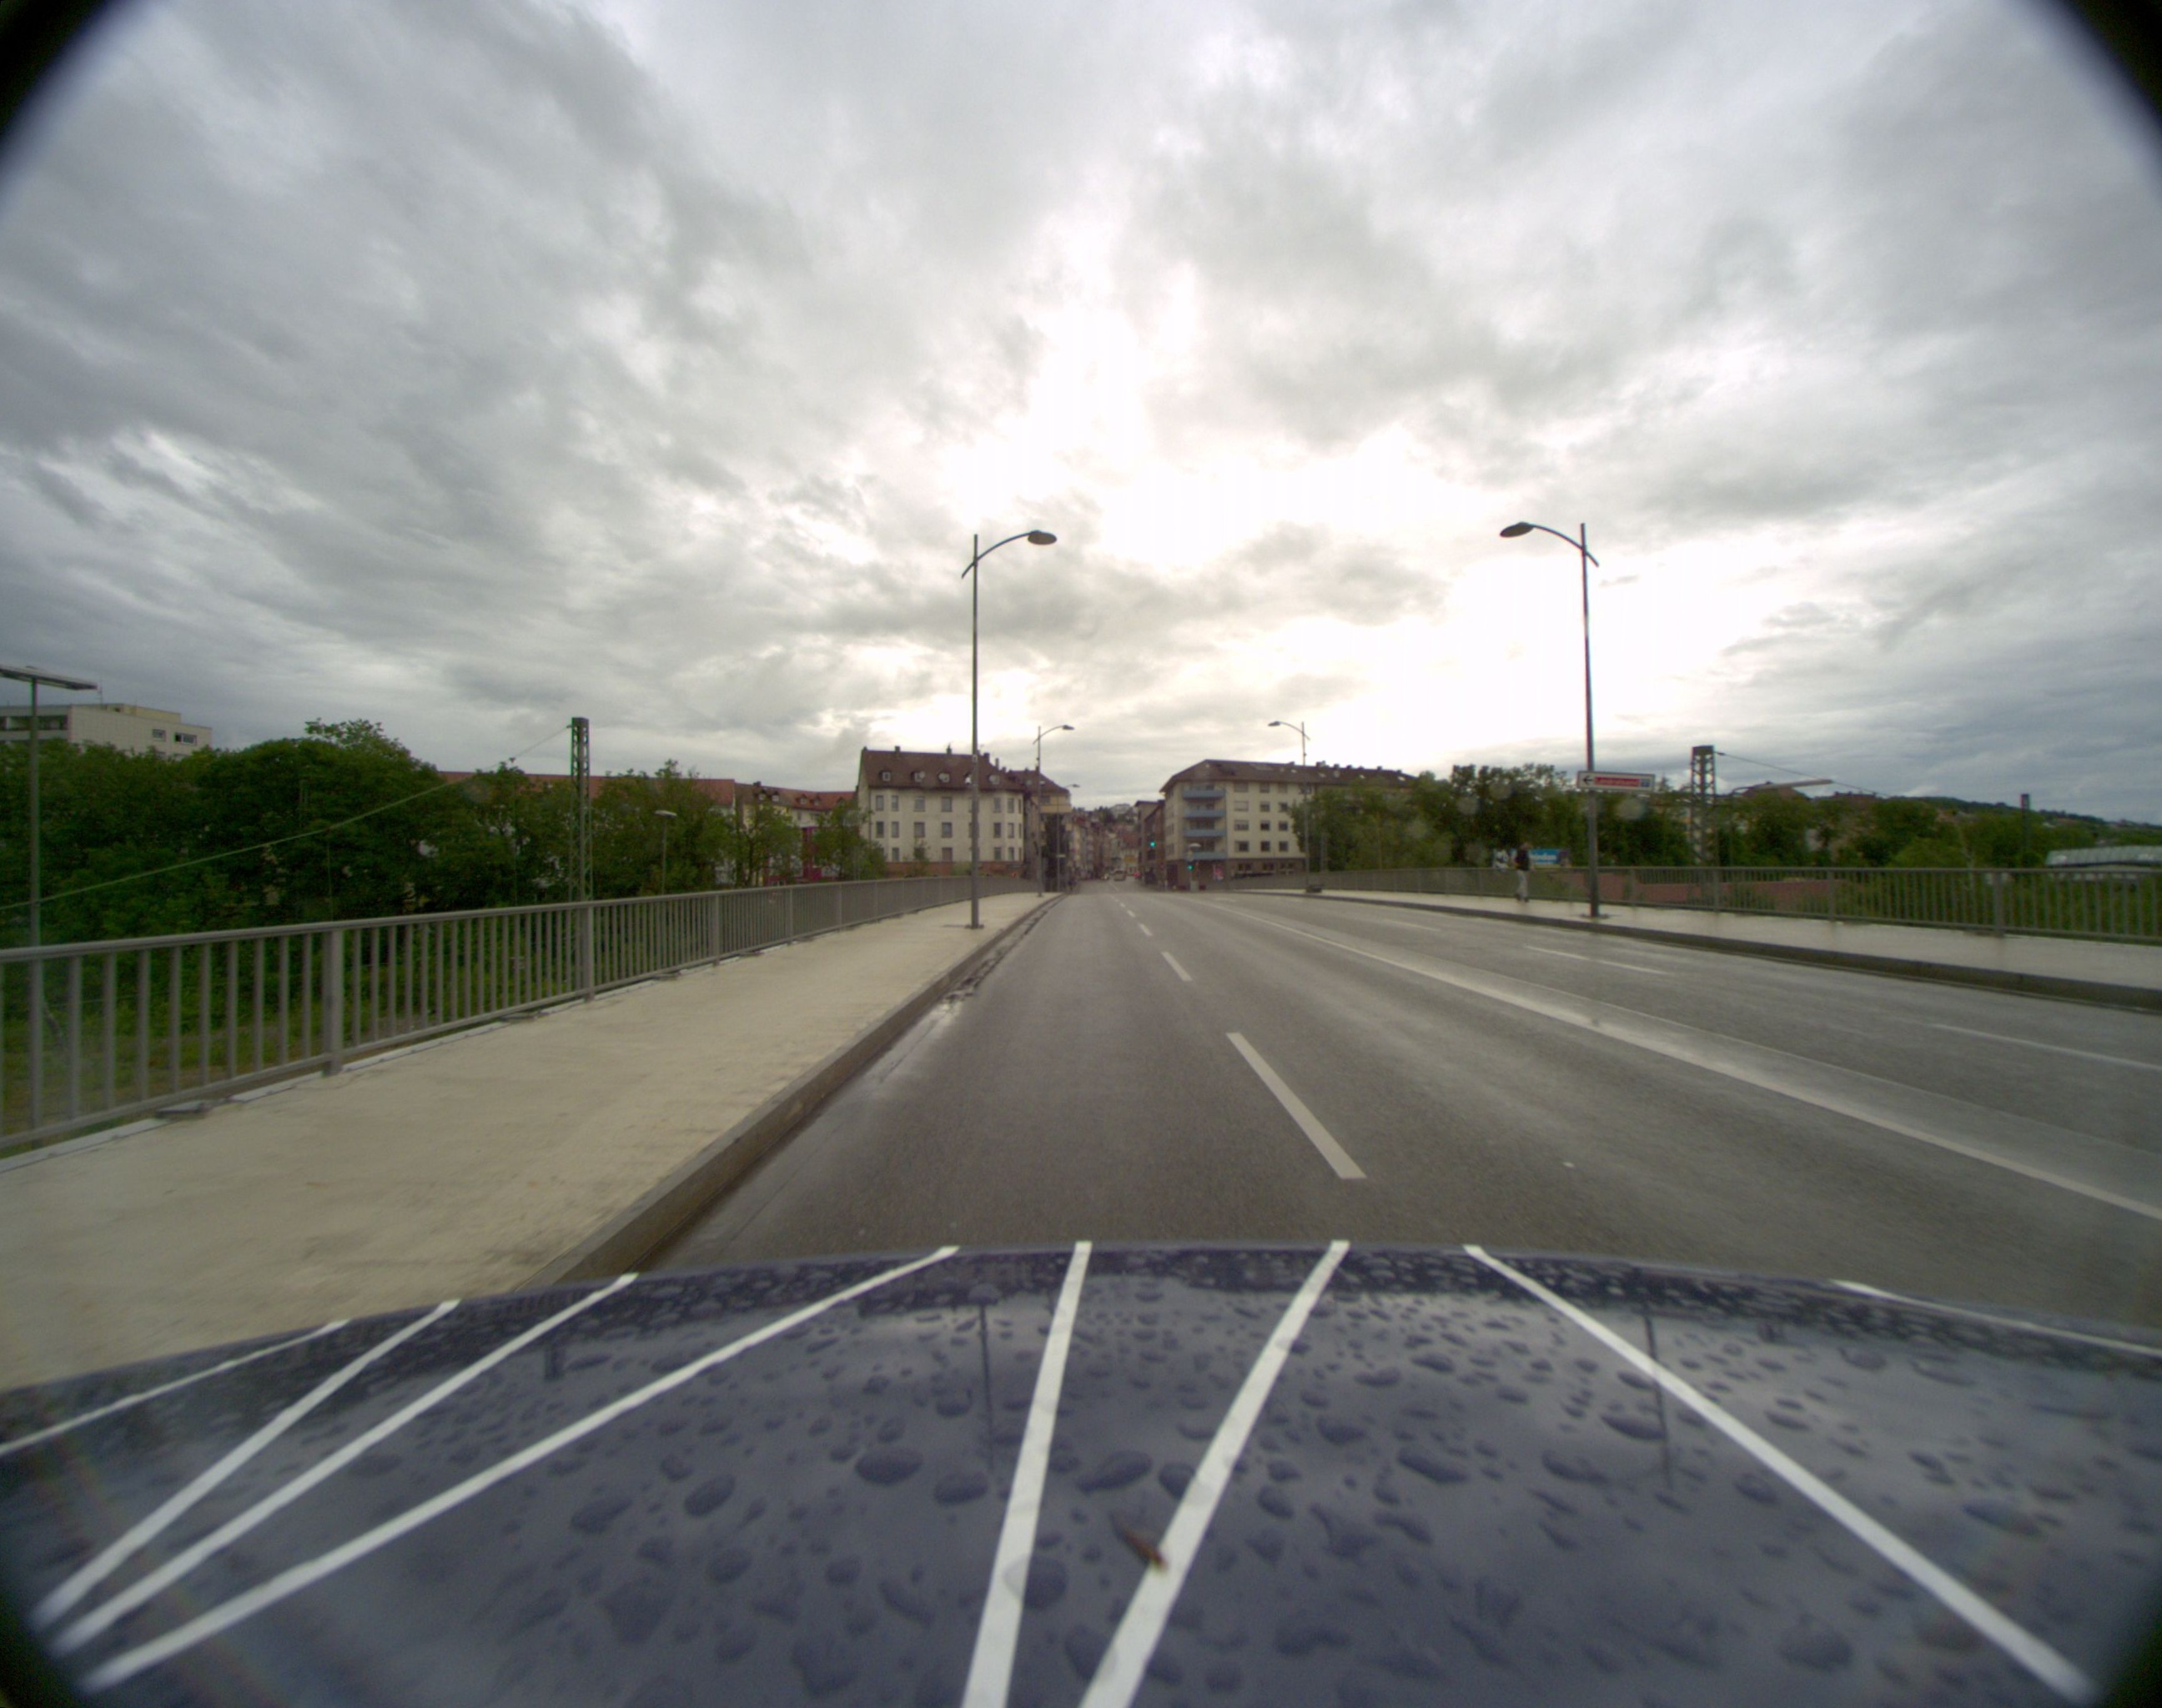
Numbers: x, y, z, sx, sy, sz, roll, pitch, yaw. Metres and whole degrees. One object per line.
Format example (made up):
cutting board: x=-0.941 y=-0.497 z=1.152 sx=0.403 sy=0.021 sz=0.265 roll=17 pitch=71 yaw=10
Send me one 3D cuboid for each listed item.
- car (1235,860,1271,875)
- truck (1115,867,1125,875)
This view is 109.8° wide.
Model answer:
car: x=24.120 y=1.871 z=106.584 sx=4.359 sy=2.001 sz=2.132 roll=-1 pitch=-1 yaw=-20
truck: x=10.080 y=4.381 z=195.752 sx=2.475 sy=2.001 sz=4.821 roll=-2 pitch=-1 yaw=1
